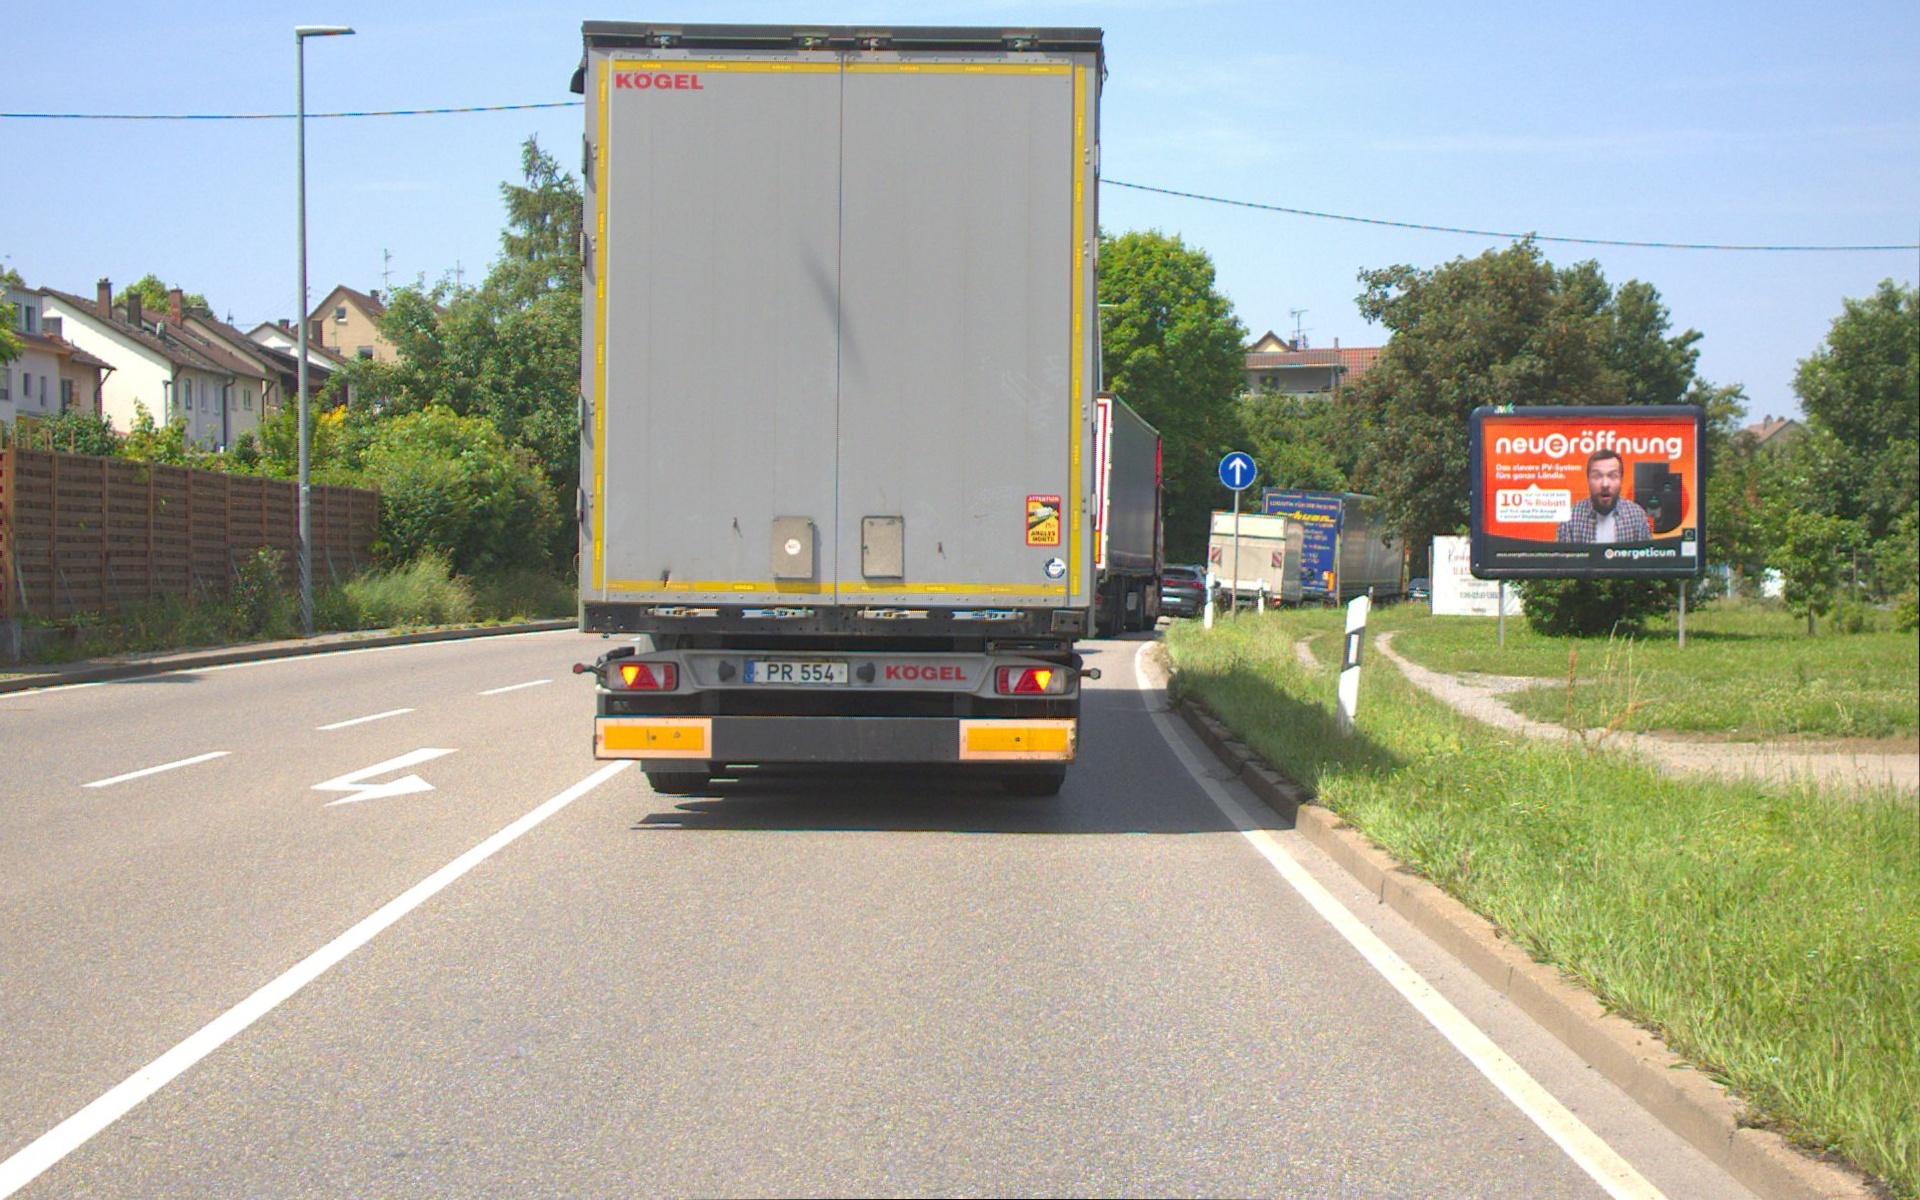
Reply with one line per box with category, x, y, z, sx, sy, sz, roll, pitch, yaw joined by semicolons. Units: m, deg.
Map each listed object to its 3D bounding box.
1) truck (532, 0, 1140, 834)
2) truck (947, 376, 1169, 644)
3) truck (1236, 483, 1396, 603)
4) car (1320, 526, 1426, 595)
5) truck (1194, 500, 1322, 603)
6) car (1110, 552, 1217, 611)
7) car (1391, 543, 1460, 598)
truck;-0.626;-1.059;22.202;2.822;4.113;11.444;1;1;0
truck;2.076;-1.468;63.711;2.761;4.274;16.411;1;0;6
truck;11.473;-1.847;109.917;3.435;3.592;9.347;1;1;16
car;14.304;-1.387;118.805;2.534;2.269;6.376;1;1;17
truck;8.558;-1.341;98.092;2.545;2.793;6.027;1;0;15
car;5.071;-0.452;85.301;1.995;1.371;3.998;1;0;13
car;17.729;-1.112;130.831;1.995;2.007;3.997;1;0;17
